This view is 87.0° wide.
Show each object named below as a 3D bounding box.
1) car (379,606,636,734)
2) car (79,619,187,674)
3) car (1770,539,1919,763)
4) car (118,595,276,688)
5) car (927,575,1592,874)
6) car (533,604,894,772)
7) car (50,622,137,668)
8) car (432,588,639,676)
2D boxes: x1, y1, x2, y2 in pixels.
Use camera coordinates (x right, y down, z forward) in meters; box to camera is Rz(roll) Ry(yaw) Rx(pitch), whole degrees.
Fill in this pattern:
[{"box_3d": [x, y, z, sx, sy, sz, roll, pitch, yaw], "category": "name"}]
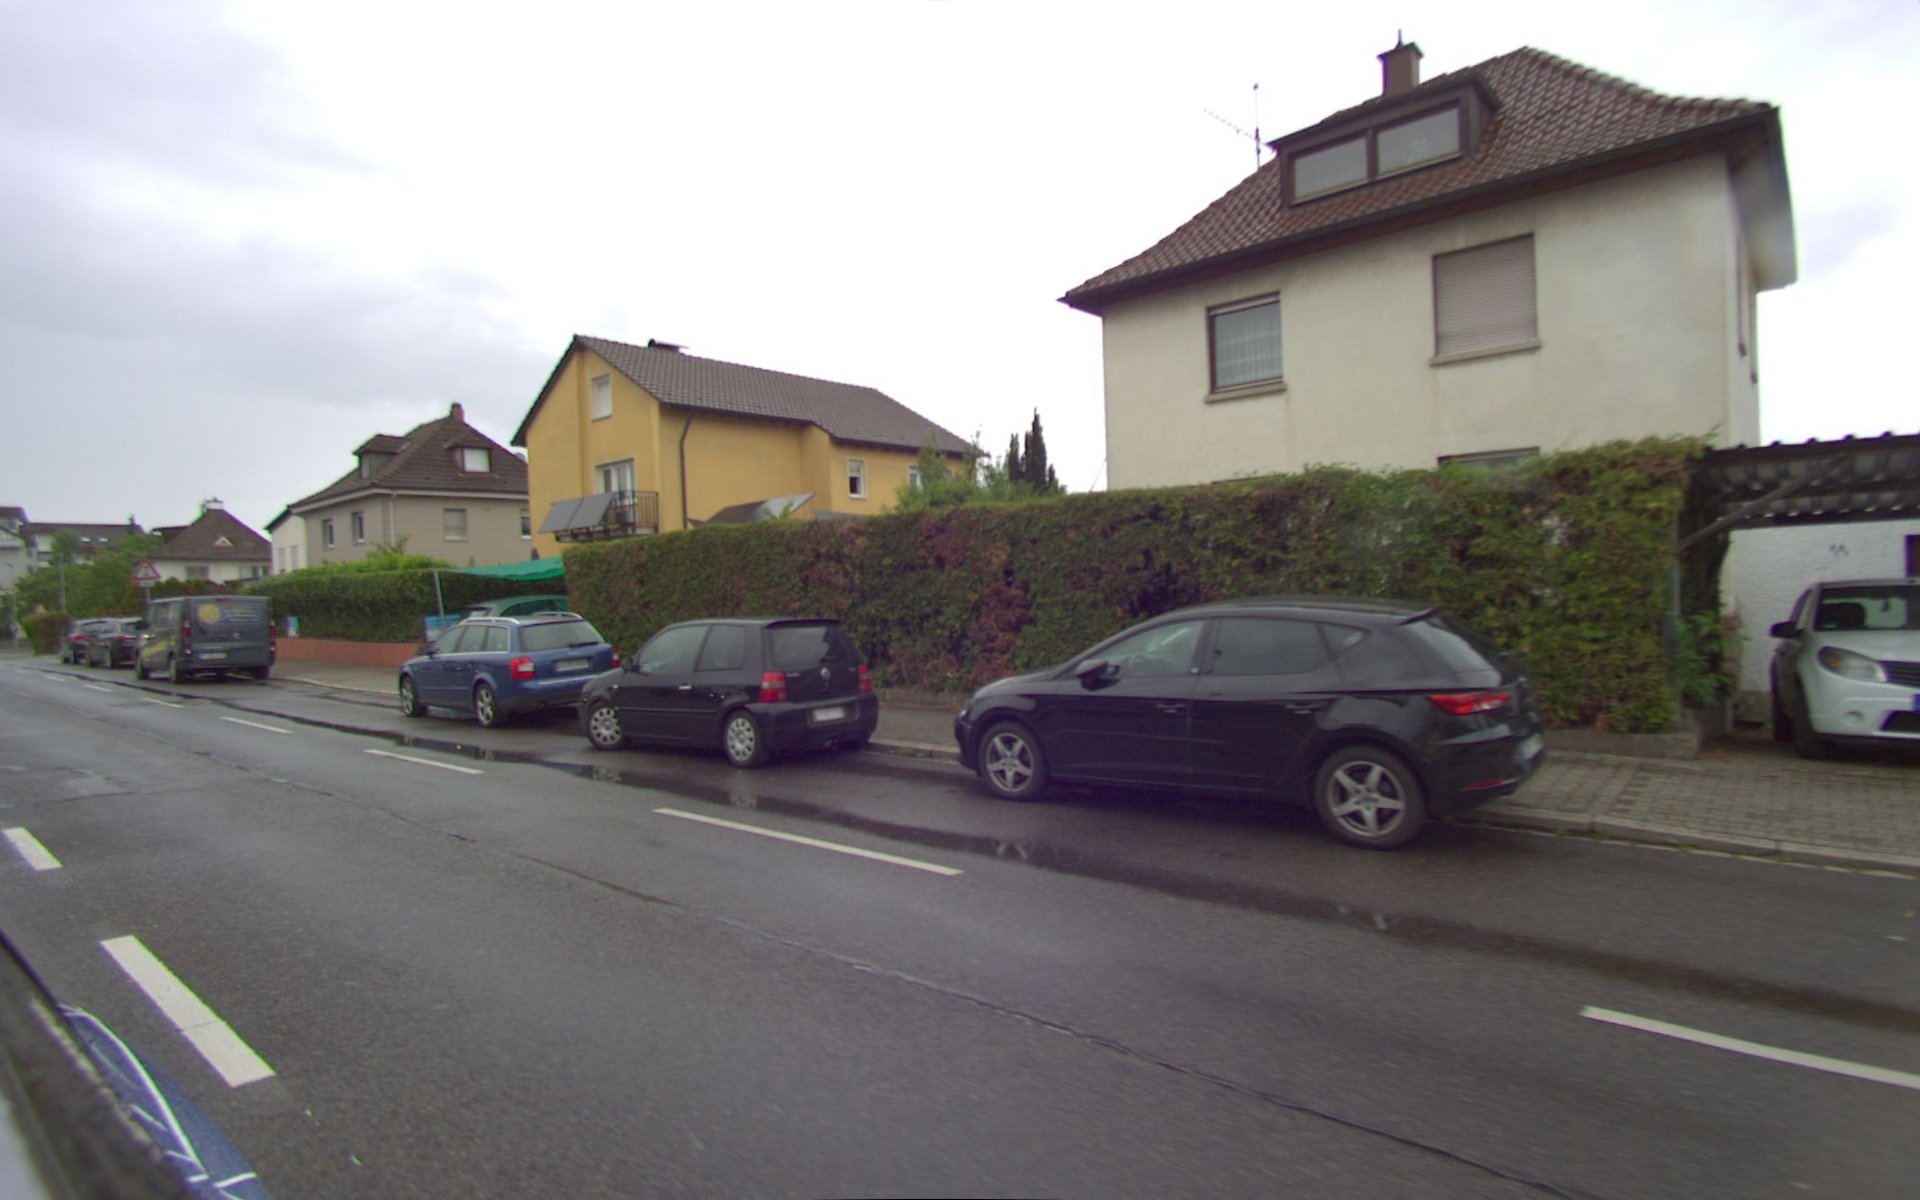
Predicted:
[{"box_3d": [-6.592, 0.900, 14.520, 4.284, 1.544, 1.739, -1, 0, 41], "category": "car"}, {"box_3d": [-25.764, 1.394, 31.462, 4.523, 1.528, 1.733, -1, 0, 39], "category": "car"}, {"box_3d": [7.983, 0.449, 8.327, 1.852, 1.527, 3.951, -1, -4, 36], "category": "car"}, {"box_3d": [-18.518, 0.948, 24.470, 5.082, 2.018, 1.894, -1, 0, 39], "category": "car"}, {"box_3d": [1.934, 0.664, 7.224, 4.203, 1.544, 1.740, -1, 0, 38], "category": "car"}, {"box_3d": [-2.719, 0.811, 10.738, 4.008, 1.442, 1.537, -1, 0, 37], "category": "car"}, {"box_3d": [-30.395, 1.536, 35.454, 4.128, 1.450, 1.732, -1, 0, 41], "category": "car"}, {"box_3d": [-9.807, 0.671, 23.585, 1.918, 1.625, 3.919, -1, 3, 42], "category": "car"}]
